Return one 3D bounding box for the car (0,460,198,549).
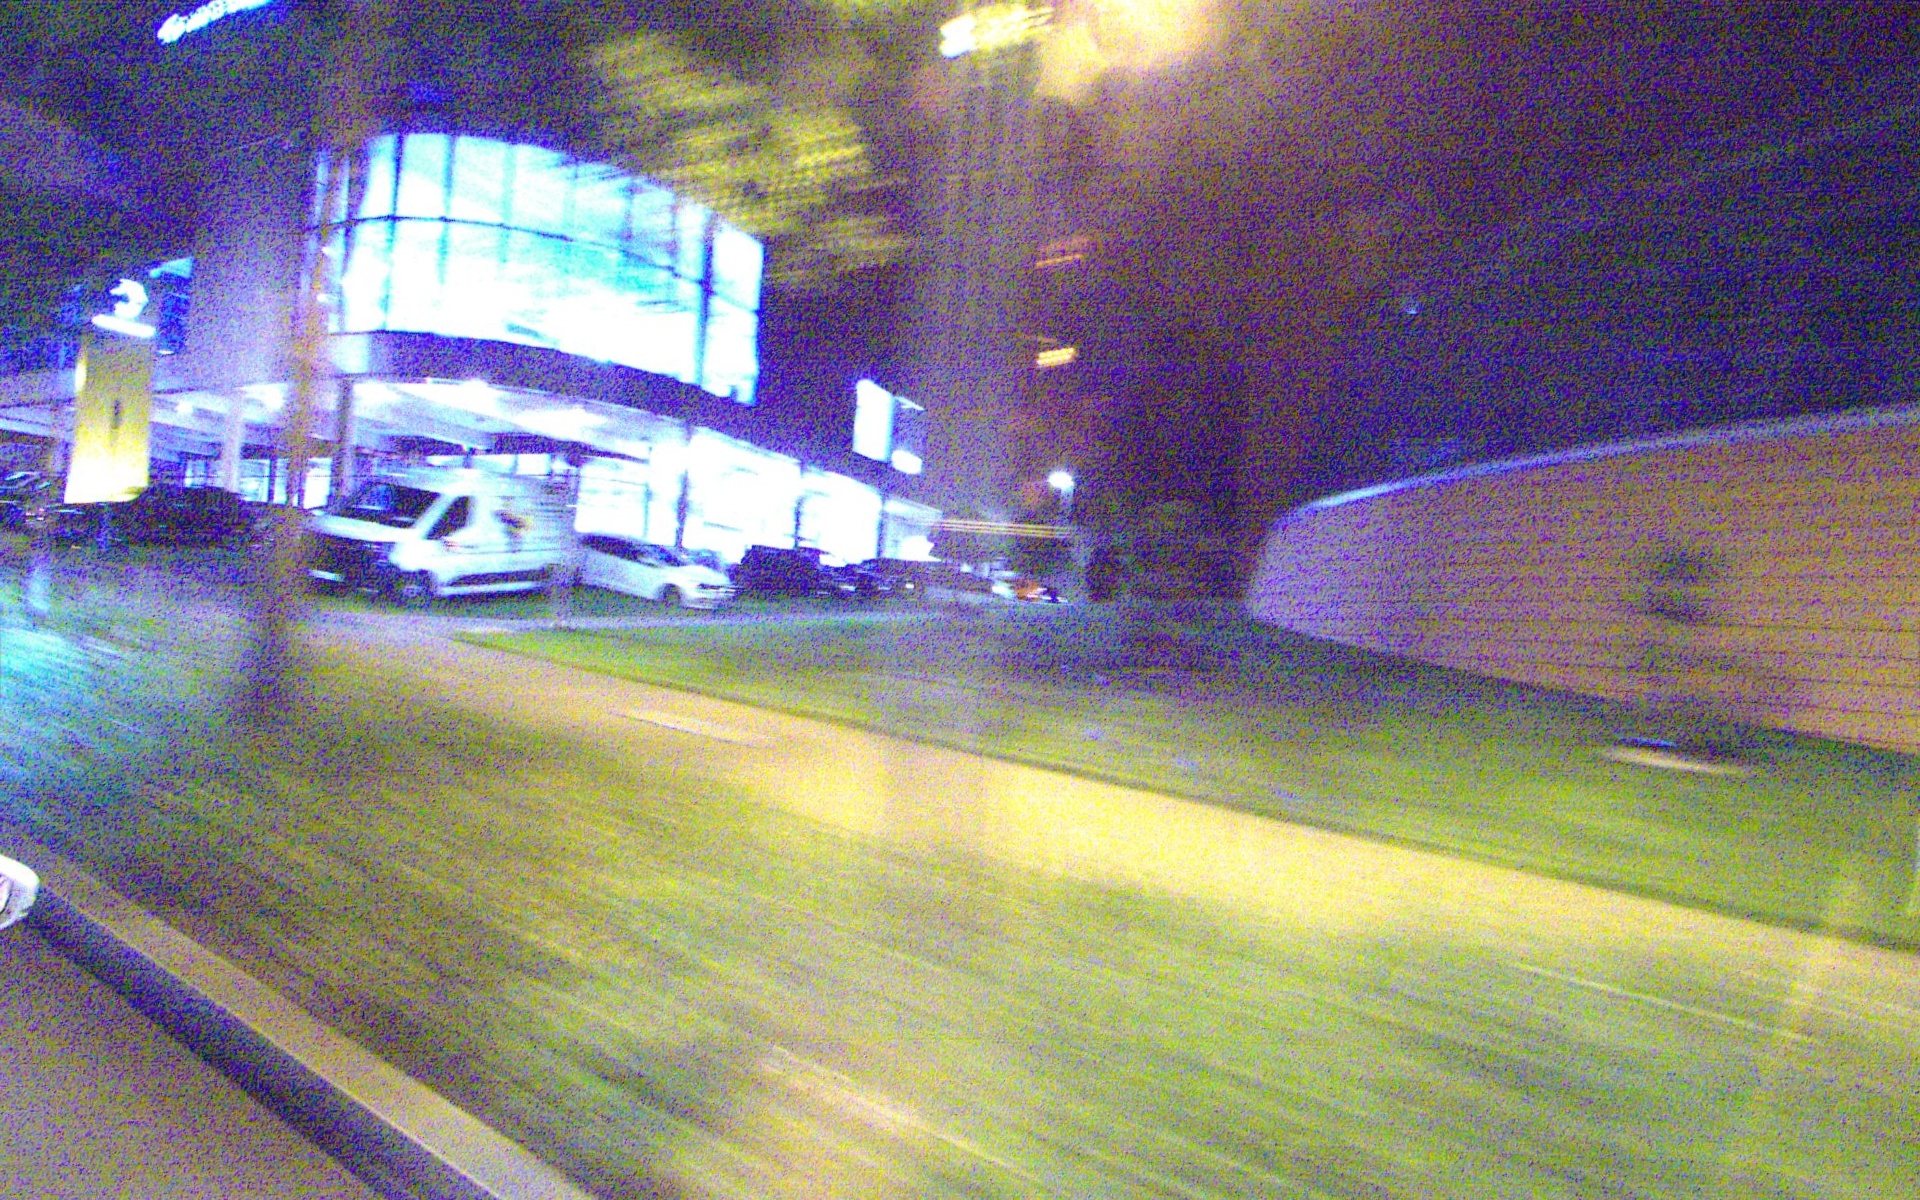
[{"bbox_3d":[-22.724,-2.448,25.942,1.963,1.834,4.471,7,2,19],"label":"car"}]

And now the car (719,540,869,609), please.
[{"bbox_3d":[-4.841,-0.788,29.626,3.891,1.600,1.797,6,5,8],"label":"car"}]

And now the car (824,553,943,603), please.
[{"bbox_3d":[-2.672,-0.759,35.434,3.804,1.353,1.657,6,1,8],"label":"car"}]

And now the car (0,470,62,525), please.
[{"bbox_3d":[-30.332,-3.231,30.421,1.737,1.569,4.466,6,3,21],"label":"car"}]

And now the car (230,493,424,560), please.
[{"bbox_3d":[-18.222,-2.092,29.140,4.367,1.531,1.716,4,2,-9],"label":"car"}]

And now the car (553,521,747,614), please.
[{"bbox_3d":[-7.327,-0.763,23.924,3.891,1.735,1.810,6,2,8],"label":"car"}]

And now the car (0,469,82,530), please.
[{"bbox_3d":[-27.640,-2.929,28.277,1.820,1.590,4.087,7,4,19],"label":"car"}]

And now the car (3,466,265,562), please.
[{"bbox_3d":[-18.713,-1.890,23.050,1.924,1.685,4.211,7,2,19],"label":"car"}]

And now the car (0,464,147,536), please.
[{"bbox_3d":[-25.143,-2.747,27.234,1.963,1.711,4.467,7,4,19],"label":"car"}]

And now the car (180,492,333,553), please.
[{"bbox_3d":[-21.728,-2.363,31.168,3.441,1.440,1.636,5,1,-7],"label":"car"}]

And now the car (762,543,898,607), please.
[{"bbox_3d":[-4.134,-0.832,32.351,3.891,1.624,1.779,6,5,8],"label":"car"}]

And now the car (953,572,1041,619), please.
[{"bbox_3d":[1.599,-0.212,44.011,3.637,1.621,1.734,5,5,-1],"label":"car"}]

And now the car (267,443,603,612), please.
[{"bbox_3d":[-9.698,-1.330,19.396,2.240,2.565,6.027,7,4,14],"label":"car"}]

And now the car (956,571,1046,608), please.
[{"bbox_3d":[1.907,-0.465,46.066,3.891,1.413,1.665,3,-1,9],"label":"car"}]

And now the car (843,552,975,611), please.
[{"bbox_3d":[-1.877,-0.680,38.081,4.578,1.682,2.002,6,-1,8],"label":"car"}]
